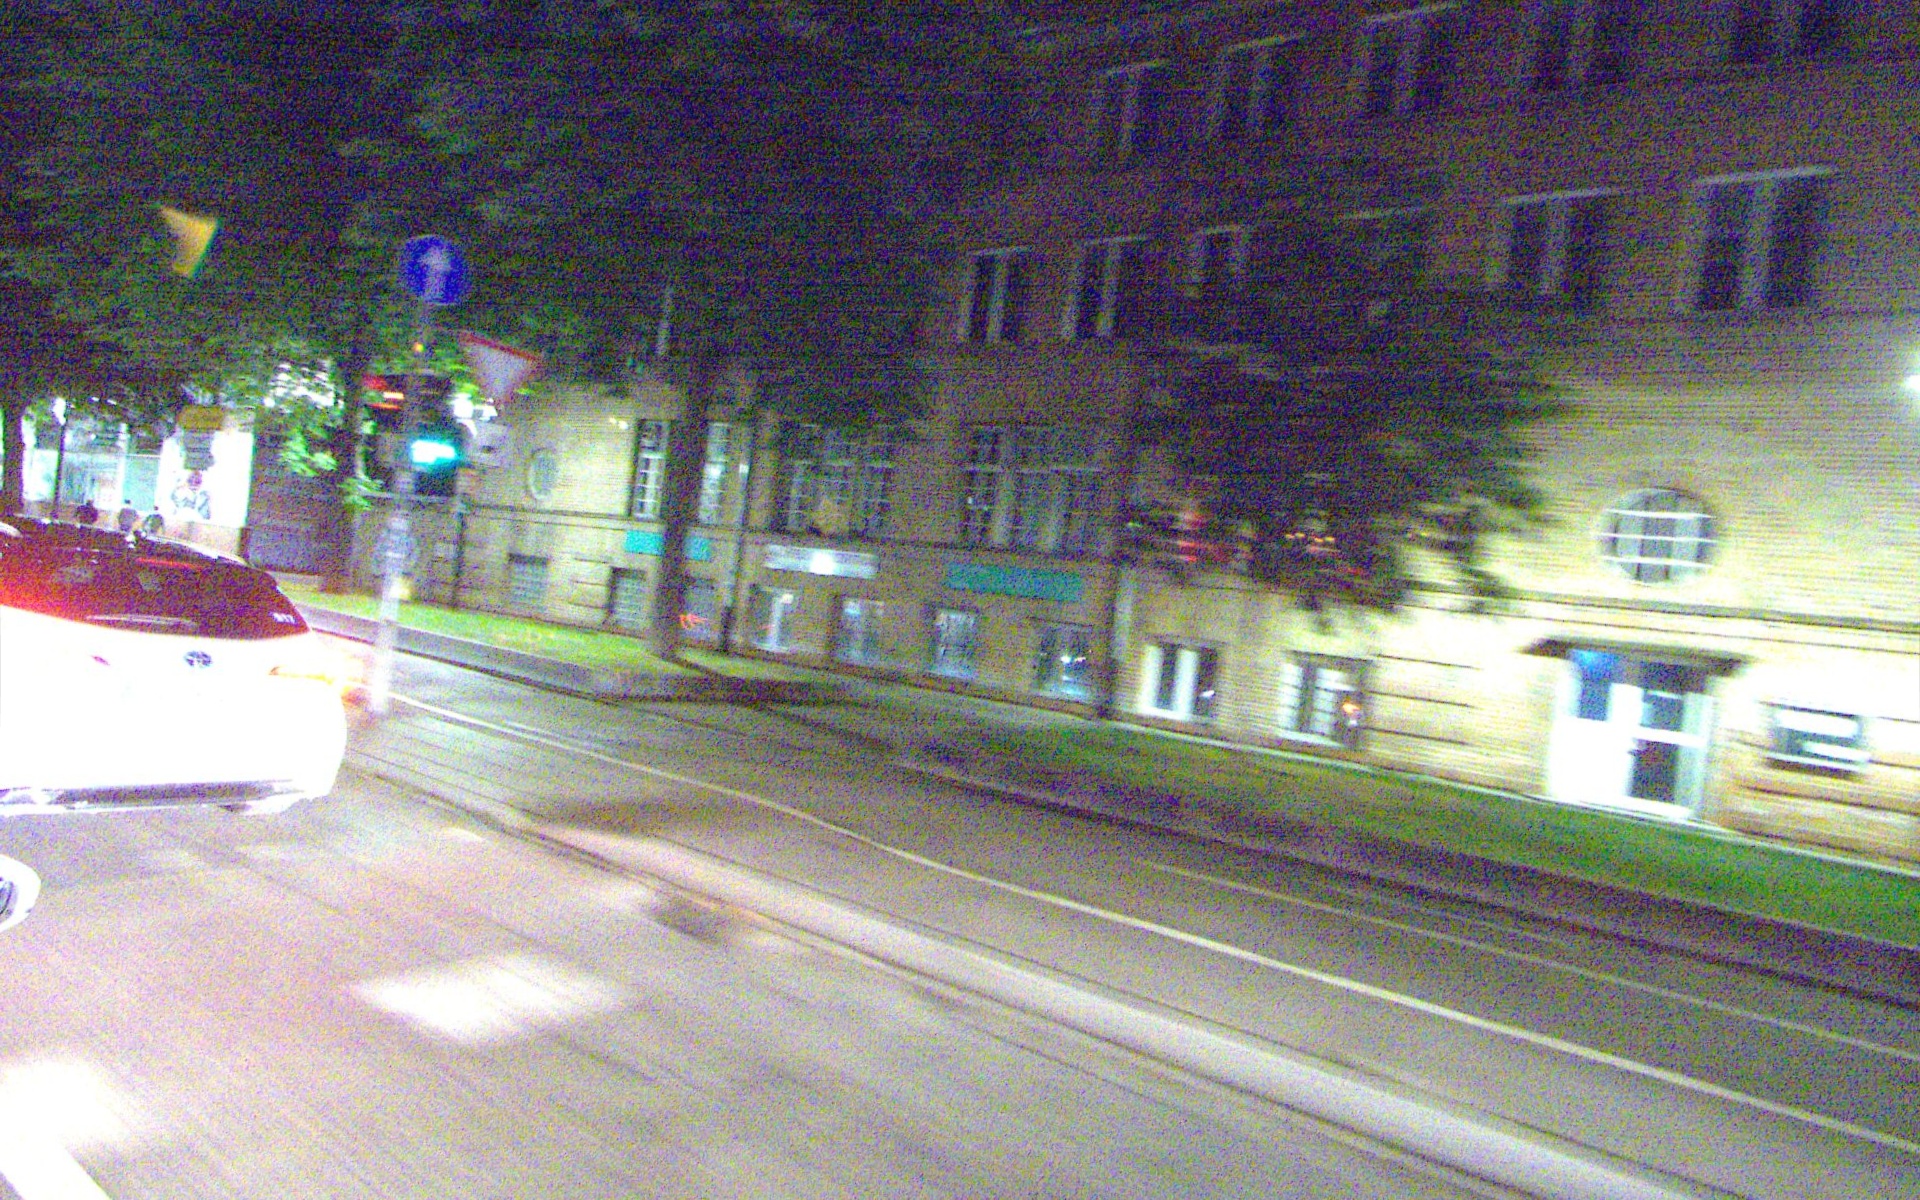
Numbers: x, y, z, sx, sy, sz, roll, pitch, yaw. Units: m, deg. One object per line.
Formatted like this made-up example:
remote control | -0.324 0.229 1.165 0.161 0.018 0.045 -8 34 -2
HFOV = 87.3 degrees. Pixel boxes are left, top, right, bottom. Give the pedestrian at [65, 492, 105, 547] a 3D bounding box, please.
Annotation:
pedestrian | -31.016 -2.847 35.648 0.892 1.791 0.715 7 1 32

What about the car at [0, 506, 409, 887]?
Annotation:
car | -5.108 0.240 5.441 4.140 1.451 1.734 7 -3 31

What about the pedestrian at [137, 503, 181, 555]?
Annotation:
pedestrian | -29.821 -2.644 37.461 0.892 1.791 0.902 7 1 32

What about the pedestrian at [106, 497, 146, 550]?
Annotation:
pedestrian | -30.196 -2.772 36.427 0.892 1.791 0.739 7 1 32
